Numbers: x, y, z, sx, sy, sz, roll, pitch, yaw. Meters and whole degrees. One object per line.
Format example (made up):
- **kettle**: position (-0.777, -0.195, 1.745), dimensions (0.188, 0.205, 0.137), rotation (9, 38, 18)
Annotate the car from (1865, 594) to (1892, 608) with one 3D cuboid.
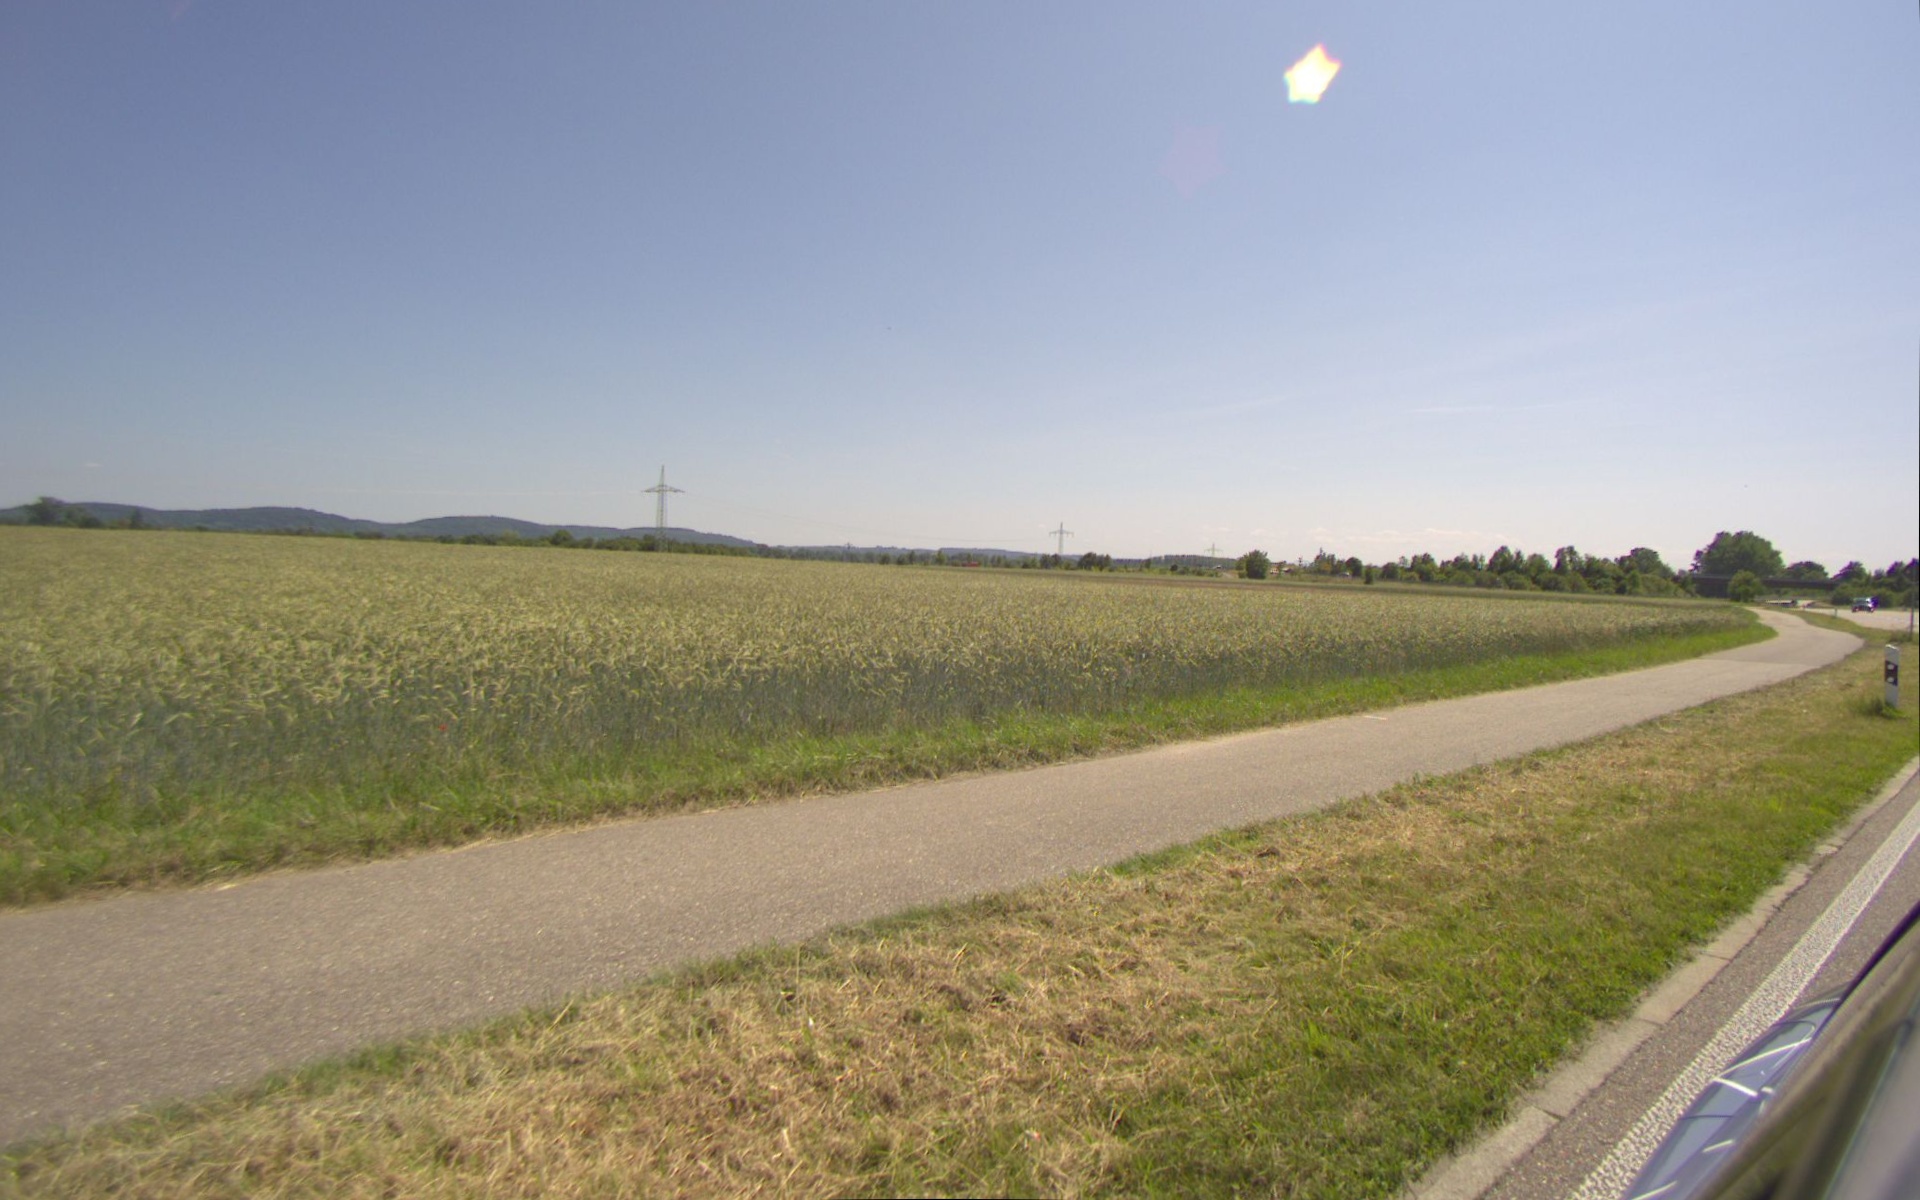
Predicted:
- **car**: position (113.746, 0.114, 125.325), dimensions (1.973, 1.616, 5.330), rotation (2, 1, 37)
